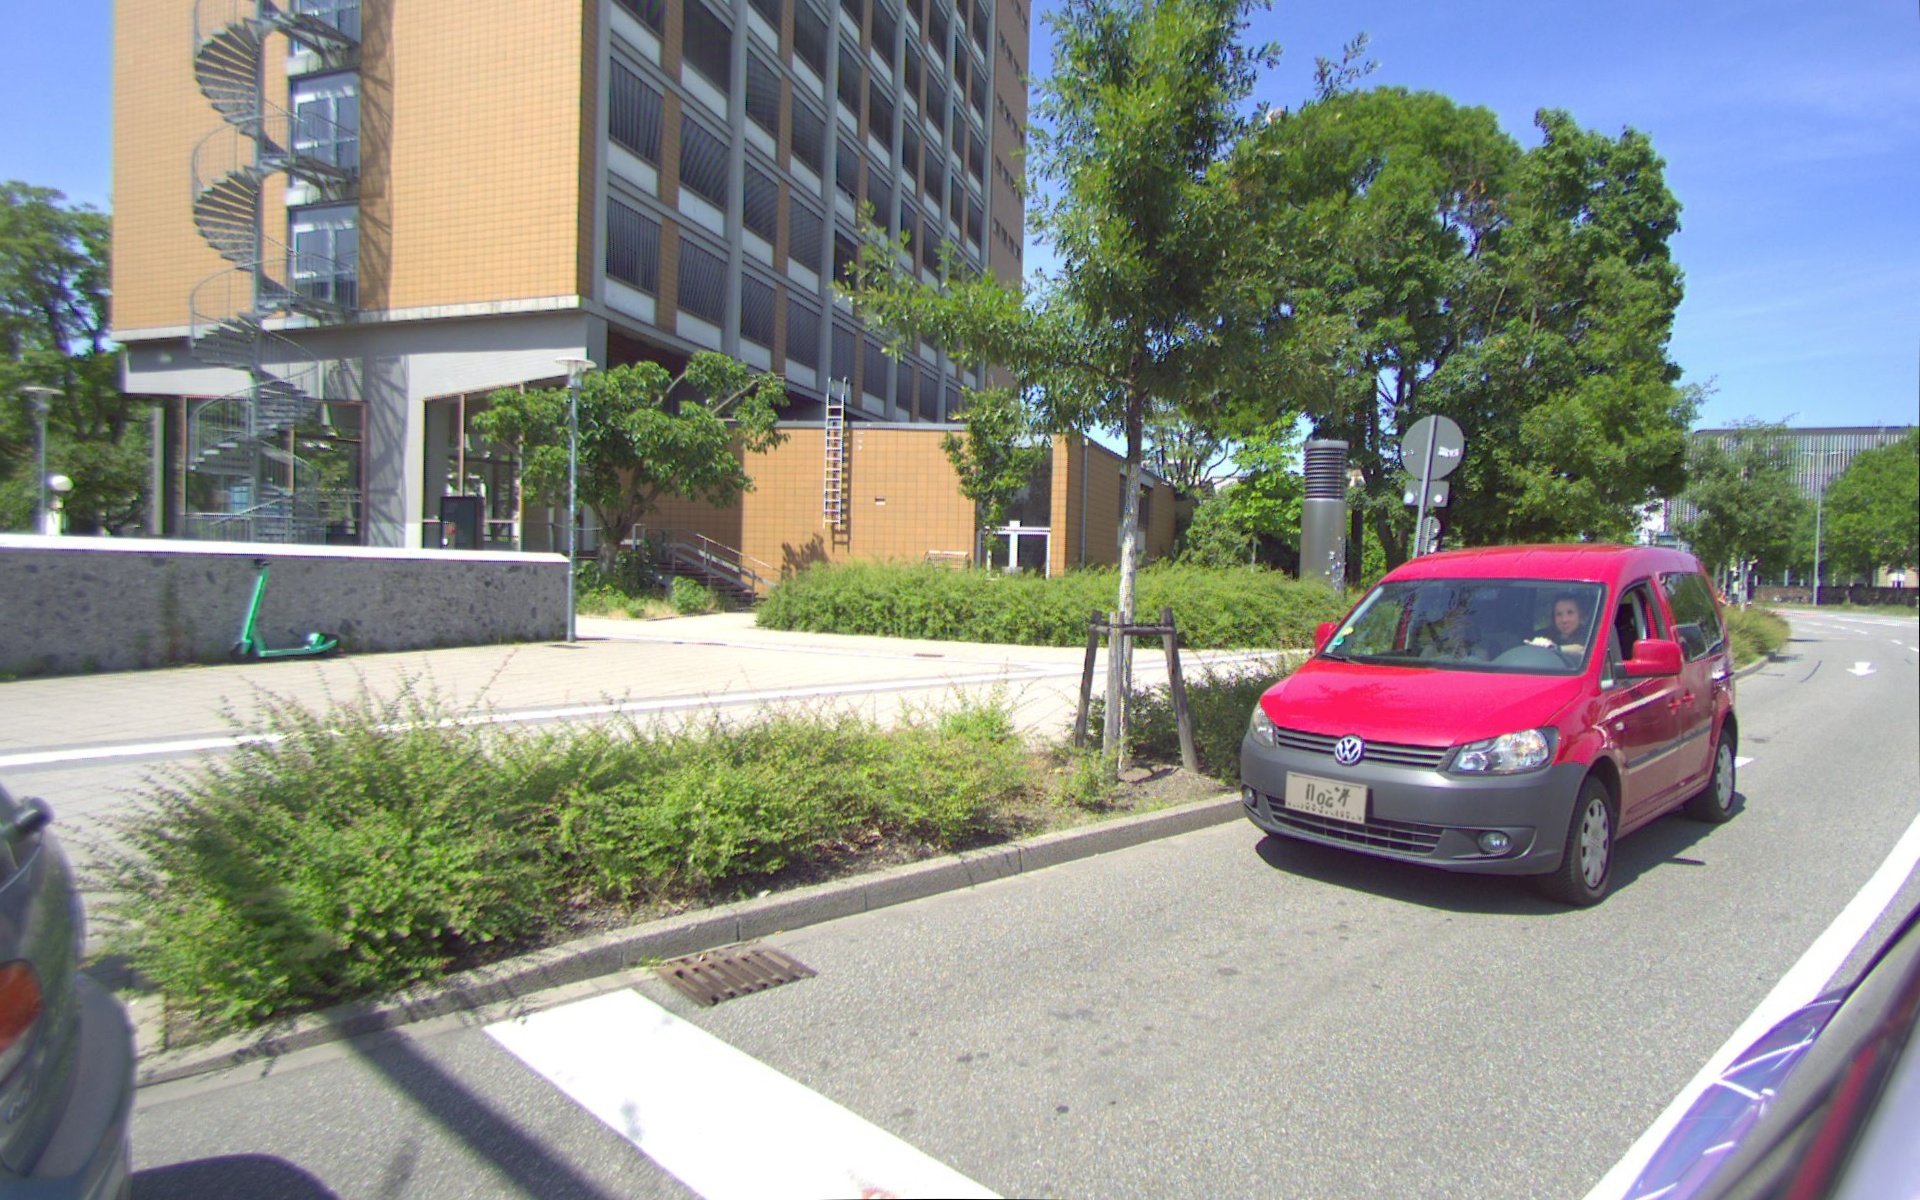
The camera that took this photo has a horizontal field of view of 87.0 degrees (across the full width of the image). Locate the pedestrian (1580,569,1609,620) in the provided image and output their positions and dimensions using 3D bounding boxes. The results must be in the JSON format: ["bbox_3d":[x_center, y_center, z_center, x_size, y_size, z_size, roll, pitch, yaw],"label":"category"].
[{"bbox_3d":[23.252,-0.210,37.095,0.603,1.820,0.728,0,1,-41],"label":"pedestrian"}]

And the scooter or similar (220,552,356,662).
[{"bbox_3d":[-7.719,0.063,11.668,0.455,1.185,1.238,2,1,28],"label":"scooter or similar"}]

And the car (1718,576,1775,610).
[{"bbox_3d":[49.592,-0.460,63.893,1.980,2.038,3.966,2,2,25],"label":"car"}]

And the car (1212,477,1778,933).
[{"bbox_3d":[3.570,0.411,6.297,4.467,1.882,1.654,0,1,-42],"label":"car"}]

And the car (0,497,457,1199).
[{"bbox_3d":[-2.739,0.618,0.795,3.933,1.477,1.654,0,0,-40],"label":"car"}]
